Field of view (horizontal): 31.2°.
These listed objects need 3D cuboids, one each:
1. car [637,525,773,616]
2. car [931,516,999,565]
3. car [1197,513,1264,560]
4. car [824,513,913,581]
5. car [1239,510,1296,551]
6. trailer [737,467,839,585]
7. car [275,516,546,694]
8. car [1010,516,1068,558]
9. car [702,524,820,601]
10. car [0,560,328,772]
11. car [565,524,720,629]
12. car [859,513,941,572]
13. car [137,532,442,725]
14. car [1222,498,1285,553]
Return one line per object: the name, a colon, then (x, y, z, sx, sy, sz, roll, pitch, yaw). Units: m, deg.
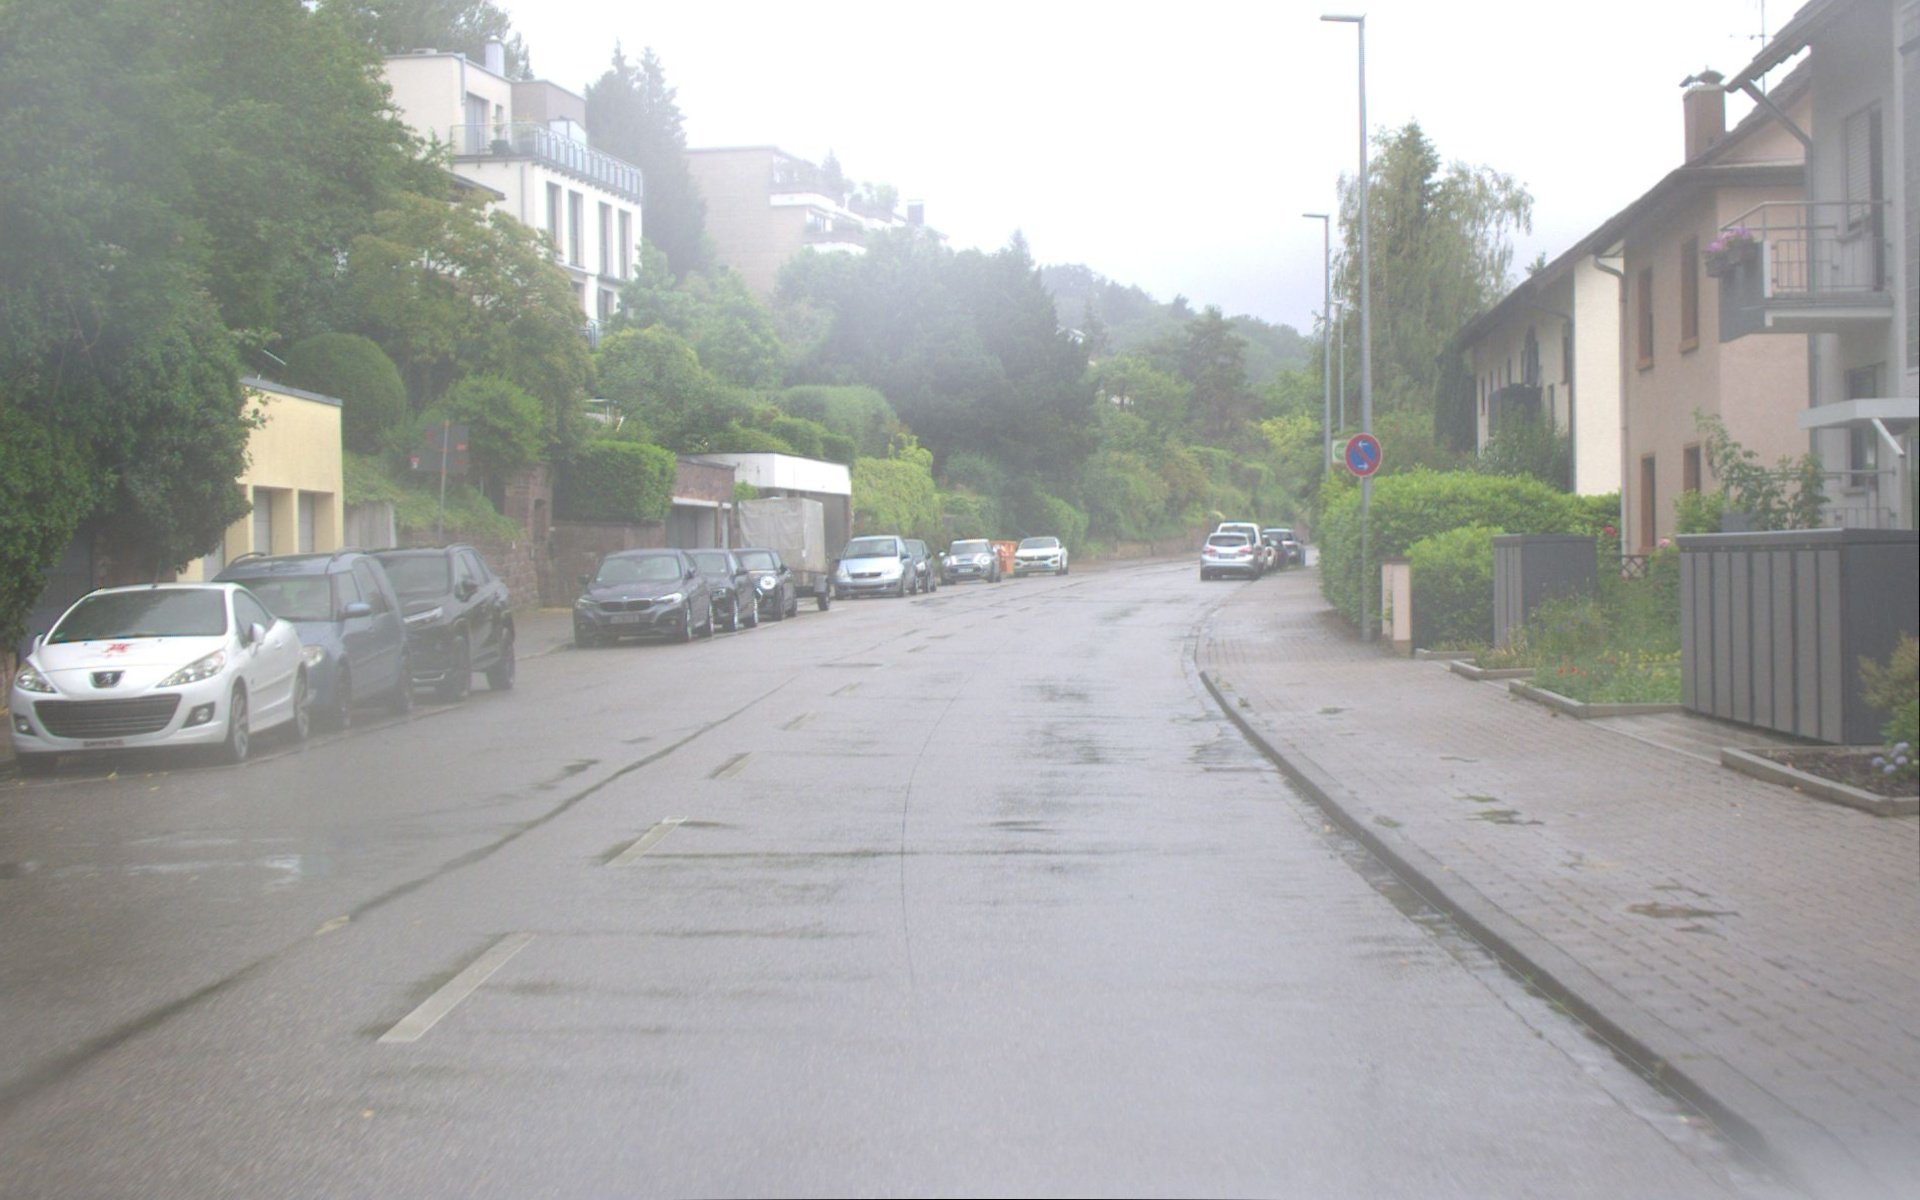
car: (-4.500, -0.550, 61.154, 1.786, 1.410, 4.217, -2, 2, 4)
car: (0.171, -1.922, 110.451, 1.756, 1.397, 3.769, -3, 1, 6)
car: (8.653, -2.039, 109.765, 1.790, 1.454, 4.307, 0, 1, 9)
car: (-2.320, -1.378, 87.778, 1.756, 1.534, 3.756, -4, 2, 5)
car: (10.899, -2.459, 121.706, 1.710, 1.398, 4.202, 0, 1, 9)
trailer: (-3.649, -1.602, 73.352, 1.537, 2.391, 3.072, -3, 2, 8)
car: (-5.853, -0.001, 37.168, 1.874, 1.620, 4.593, -4, 2, 3)
car: (2.988, -2.372, 129.409, 1.756, 1.492, 4.219, -2, 1, 6)
car: (-3.905, -0.752, 67.992, 1.808, 1.344, 3.776, -2, 2, 4)
car: (-6.299, 0.466, 27.389, 1.716, 1.360, 4.084, -3, 2, 0)
car: (-5.051, -0.416, 55.229, 1.785, 1.450, 4.755, -3, 2, 2)
car: (-1.602, -1.587, 93.235, 1.756, 1.404, 3.704, -4, 2, 5)
car: (-6.212, 0.215, 32.287, 1.742, 1.555, 4.109, -3, 2, 4)
car: (9.840, -2.508, 115.042, 1.785, 1.784, 4.360, 0, 1, 9)
